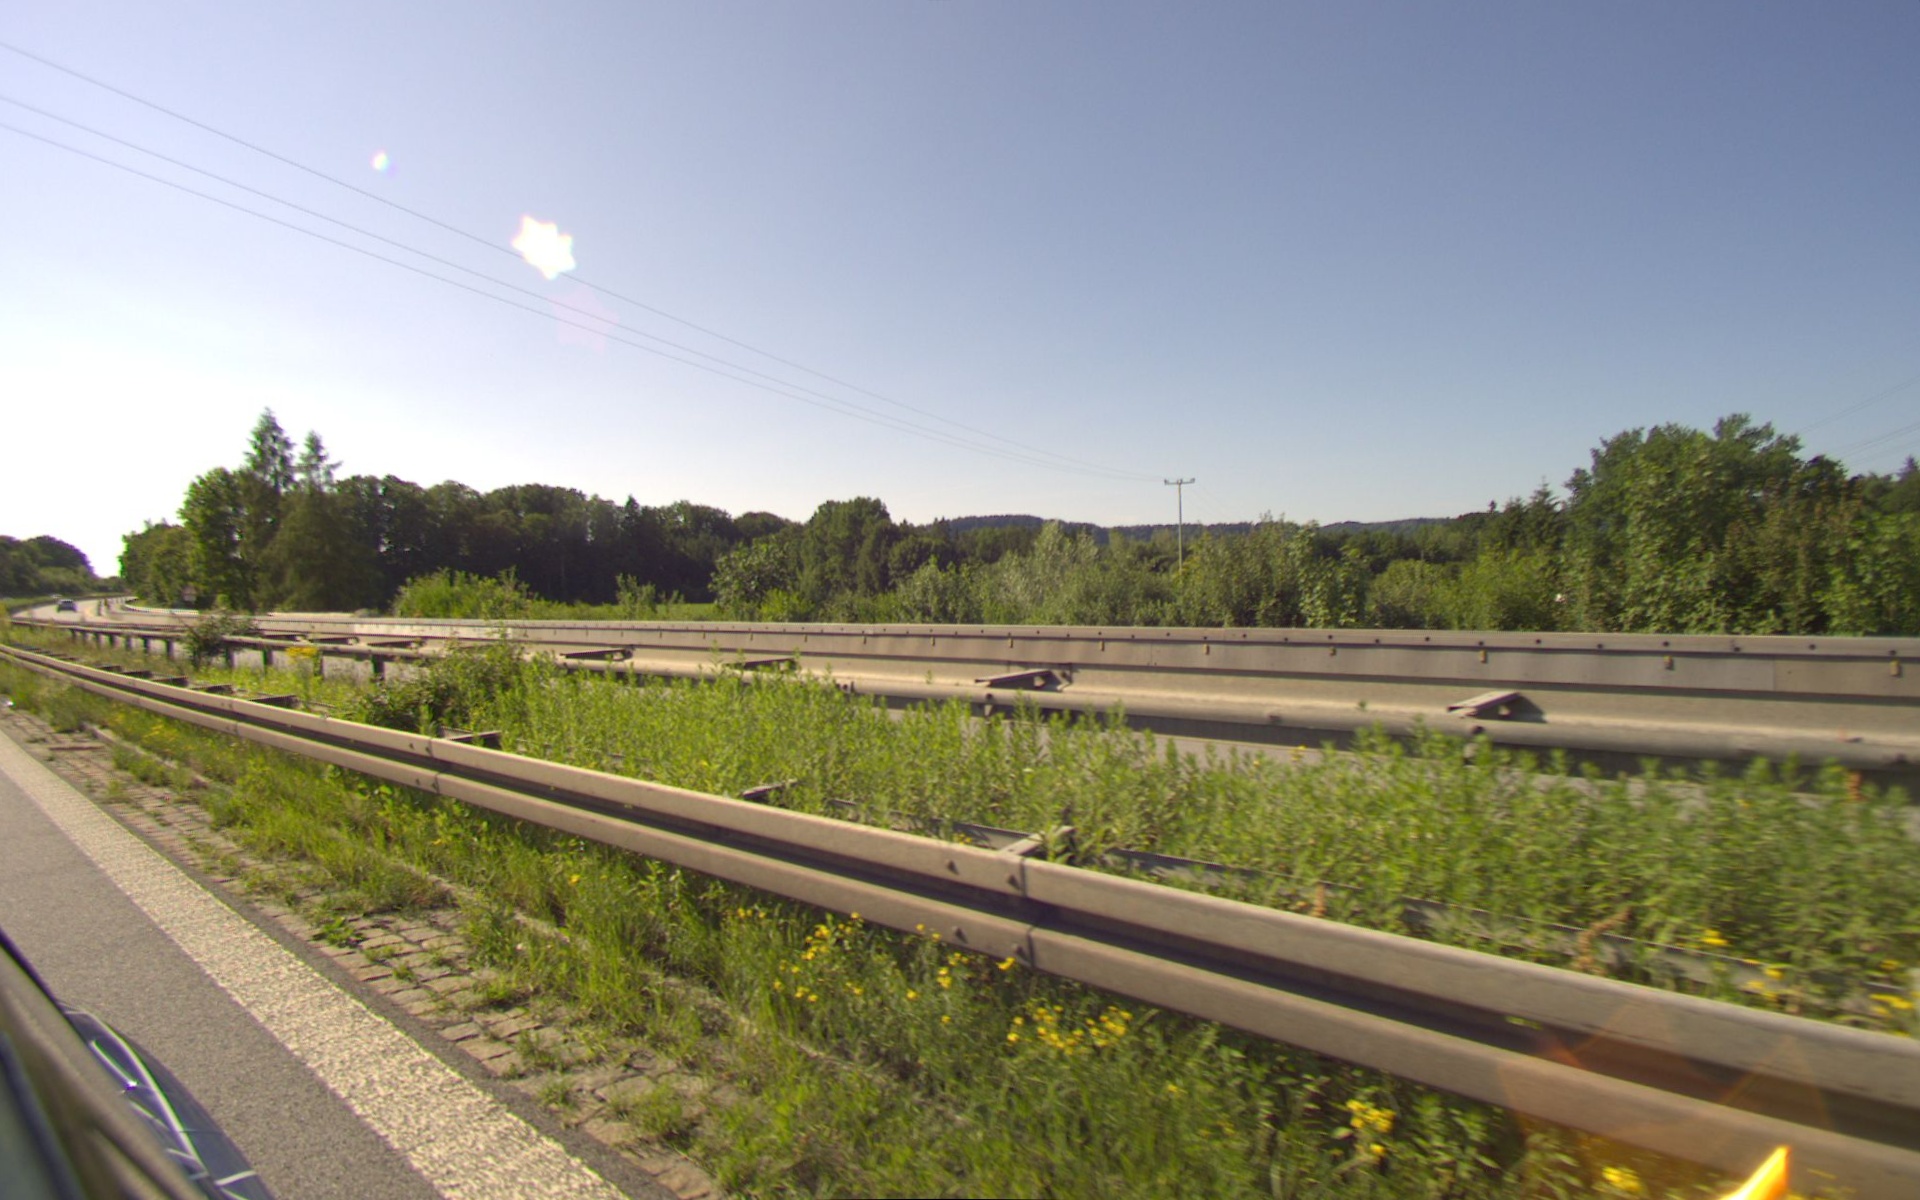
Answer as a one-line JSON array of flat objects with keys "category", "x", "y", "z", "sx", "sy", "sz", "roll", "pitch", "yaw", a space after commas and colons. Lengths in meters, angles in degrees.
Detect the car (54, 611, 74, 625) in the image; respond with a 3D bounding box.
[{"category": "car", "x": -107.954, "y": 2.170, "z": 121.959, "sx": 1.738, "sy": 1.523, "sz": 4.540, "roll": 0, "pitch": 0, "yaw": -42}]
